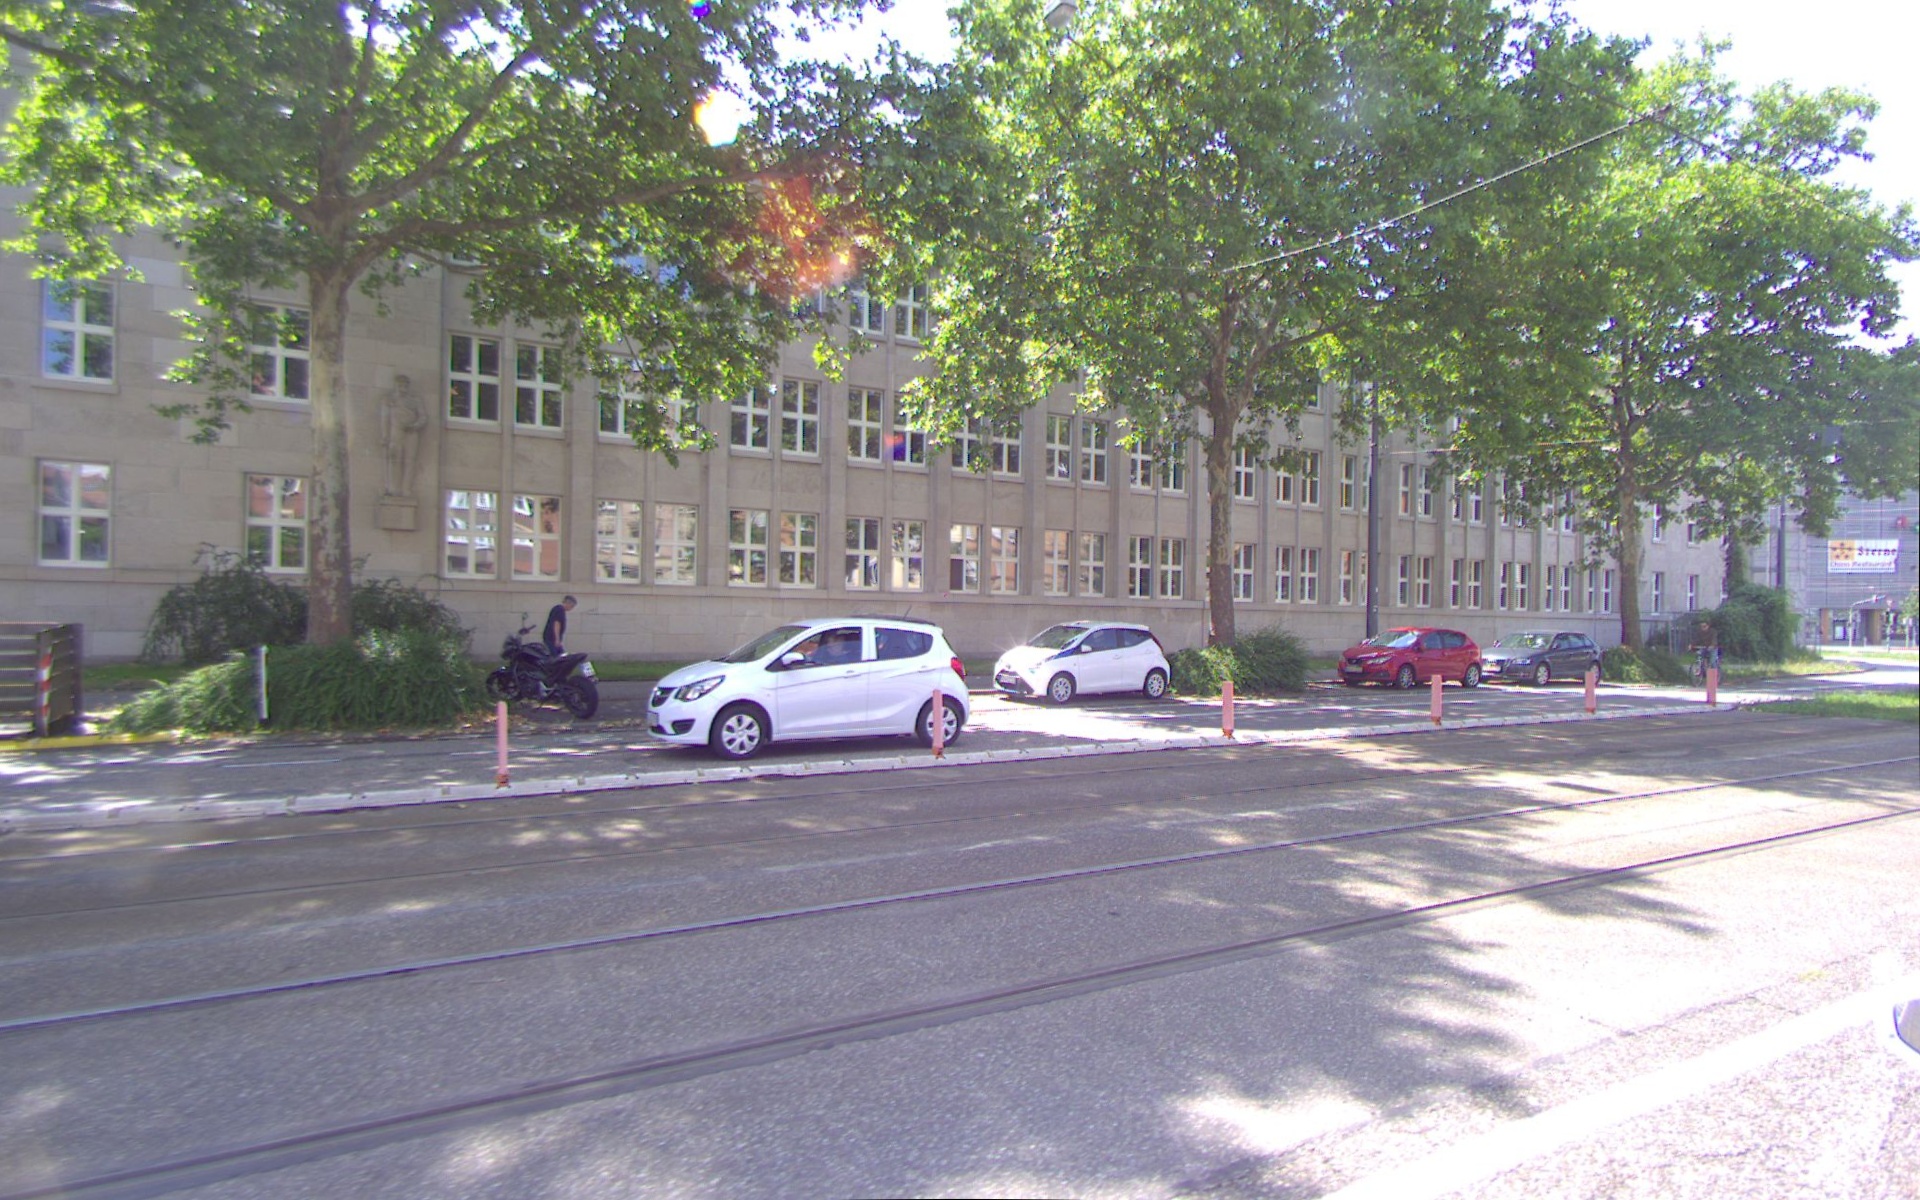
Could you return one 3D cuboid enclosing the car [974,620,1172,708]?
[{"bbox_3d":[2.191,1.167,19.344,3.452,1.473,1.737,1,1,-31],"label":"car"}]

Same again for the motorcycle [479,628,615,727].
[{"bbox_3d":[-6.056,1.105,14.699,2.067,1.192,0.544,4,5,23],"label":"motorcycle"}]

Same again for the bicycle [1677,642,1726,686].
[{"bbox_3d":[20.549,1.750,27.829,0.782,1.125,2.263,2,0,44],"label":"bicycle"}]

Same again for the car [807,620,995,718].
[{"bbox_3d":[-1.009,1.125,17.212,2.850,1.473,1.479,1,1,-31],"label":"car"}]

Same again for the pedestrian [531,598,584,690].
[{"bbox_3d":[-7.268,0.793,18.142,0.786,1.612,0.551,2,0,-30],"label":"pedestrian"}]

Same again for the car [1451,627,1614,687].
[{"bbox_3d":[15.255,1.451,26.726,4.268,1.387,1.916,1,1,-32],"label":"car"}]

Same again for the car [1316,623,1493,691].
[{"bbox_3d":[10.825,1.335,24.444,4.001,1.439,1.917,1,1,-29],"label":"car"}]

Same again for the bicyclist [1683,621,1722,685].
[{"bbox_3d":[20.611,1.457,27.882,0.753,1.727,0.779,2,0,44],"label":"bicyclist"}]

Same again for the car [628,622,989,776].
[{"bbox_3d":[-1.708,1.019,11.522,3.743,1.499,1.752,1,-3,-31],"label":"car"}]
